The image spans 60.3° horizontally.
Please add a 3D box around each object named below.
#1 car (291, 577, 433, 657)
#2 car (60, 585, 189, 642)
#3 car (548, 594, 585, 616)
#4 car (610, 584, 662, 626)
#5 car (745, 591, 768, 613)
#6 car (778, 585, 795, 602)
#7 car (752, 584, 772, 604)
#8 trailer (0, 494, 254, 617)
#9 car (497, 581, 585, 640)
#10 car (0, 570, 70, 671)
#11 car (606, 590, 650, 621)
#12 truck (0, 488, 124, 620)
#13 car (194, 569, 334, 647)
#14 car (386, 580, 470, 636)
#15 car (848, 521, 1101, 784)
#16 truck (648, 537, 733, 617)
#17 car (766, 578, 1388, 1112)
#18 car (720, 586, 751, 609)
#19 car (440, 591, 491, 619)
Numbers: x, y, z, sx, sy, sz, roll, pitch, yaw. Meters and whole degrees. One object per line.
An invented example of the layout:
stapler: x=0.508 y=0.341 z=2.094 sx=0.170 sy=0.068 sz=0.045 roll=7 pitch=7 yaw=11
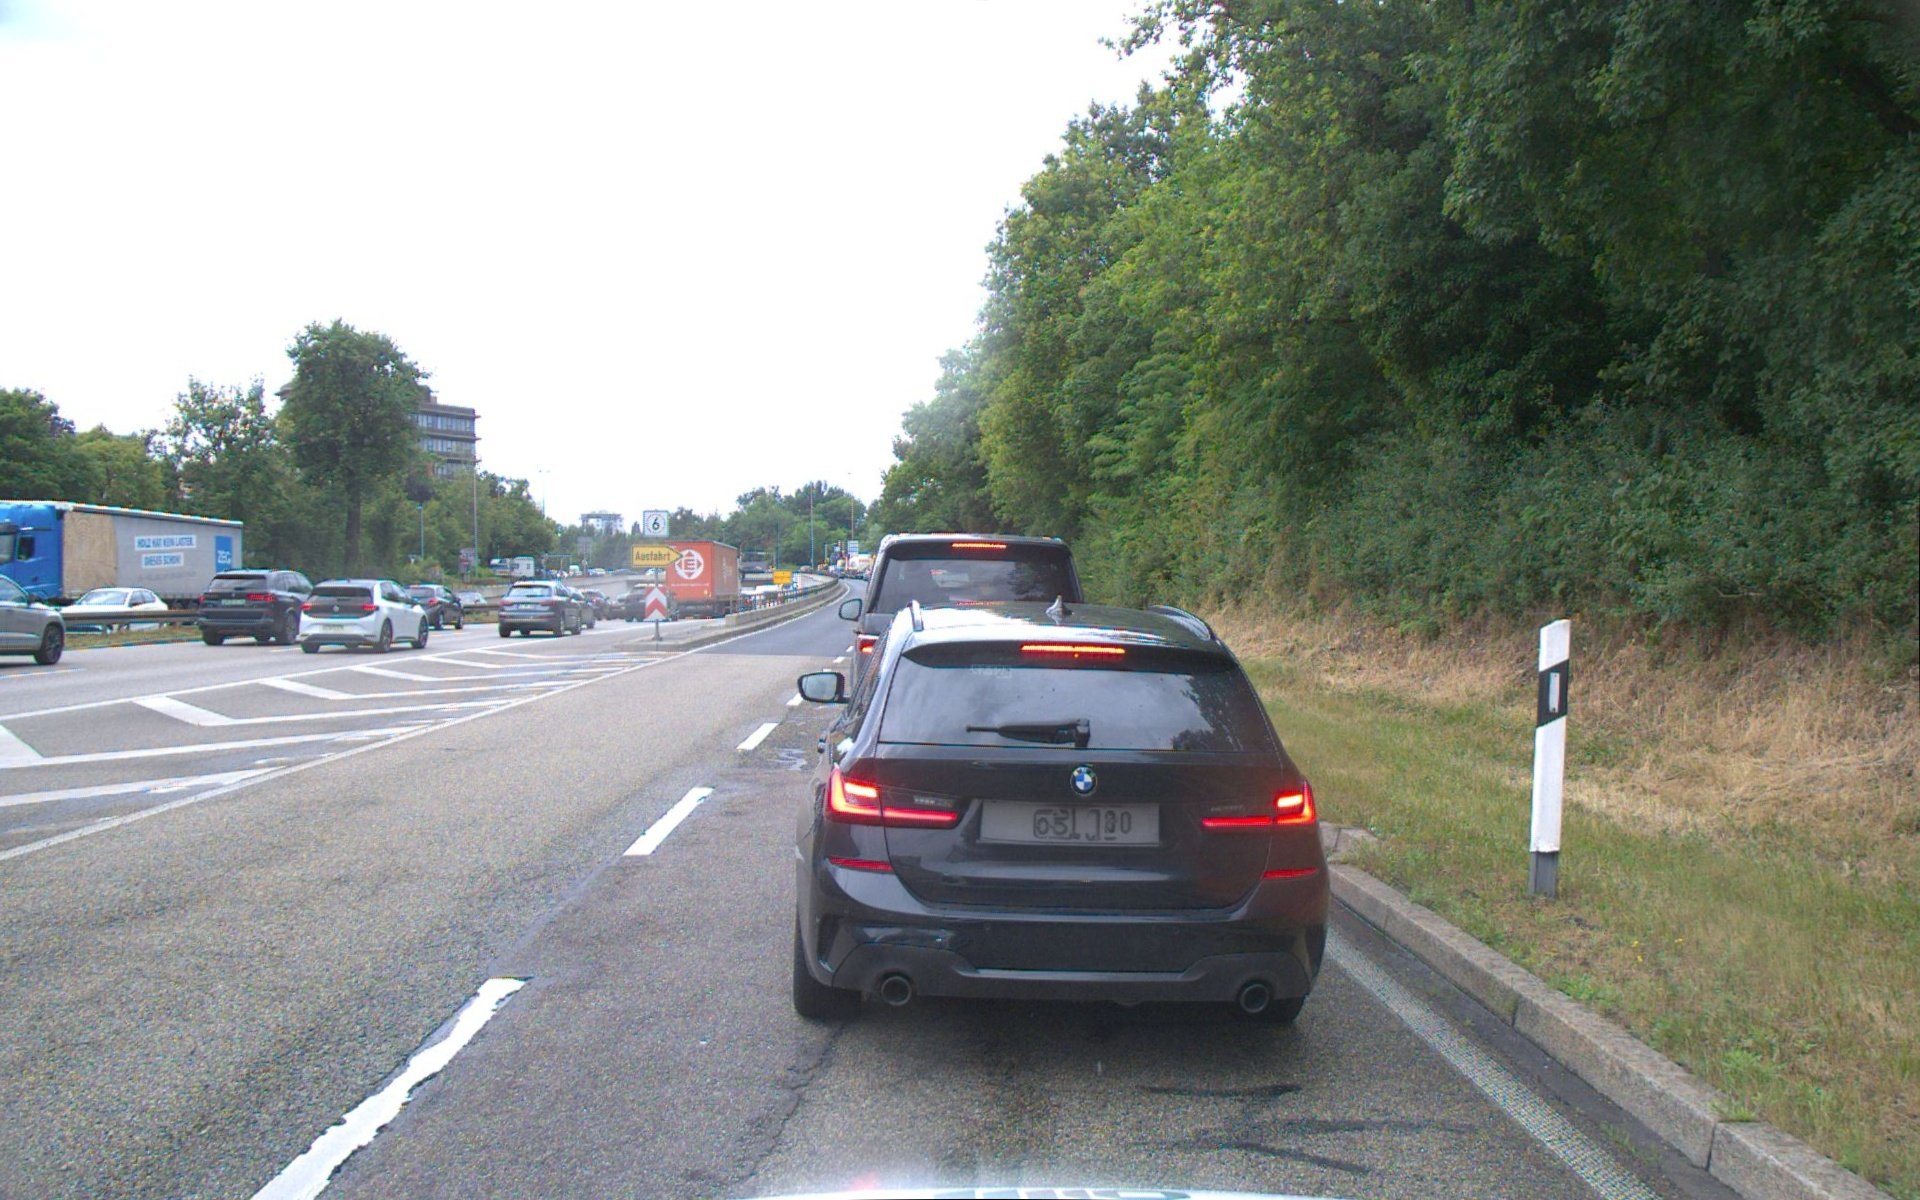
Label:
car: x=-13.033 y=0.357 z=36.309 sx=1.764 sy=1.632 sz=4.254 roll=1 pitch=0 yaw=-4
car: x=-24.553 y=0.361 z=48.737 sx=1.856 sy=1.601 sz=3.925 roll=0 pitch=0 yaw=-1
car: x=-29.911 y=0.384 z=125.908 sx=1.953 sy=1.635 sz=3.999 roll=0 pitch=1 yaw=-1
car: x=-14.776 y=0.216 z=75.613 sx=1.823 sy=1.847 sz=3.997 roll=1 pitch=0 yaw=-4
car: x=-15.289 y=0.136 z=124.201 sx=1.526 sy=1.579 sz=3.814 roll=1 pitch=0 yaw=-4
car: x=-16.857 y=-0.583 z=161.038 sx=1.526 sy=1.579 sz=3.996 roll=1 pitch=0 yaw=-4
car: x=-16.608 y=-0.510 z=138.838 sx=1.526 sy=1.579 sz=3.996 roll=1 pitch=0 yaw=-4
trailer: x=-28.733 y=-1.344 z=57.726 sx=2.631 sy=3.767 sz=13.256 roll=1 pitch=0 yaw=-1
car: x=-12.215 y=0.283 z=48.417 sx=1.756 sy=1.668 sz=3.997 roll=0 pitch=0 yaw=-4
car: x=-16.408 y=0.324 z=27.023 sx=1.694 sy=1.629 sz=3.927 roll=0 pitch=1 yaw=-1
car: x=-18.660 y=0.323 z=93.100 sx=1.822 sy=1.646 sz=3.998 roll=1 pitch=0 yaw=-3
truck: x=-28.561 y=-1.327 z=50.450 sx=2.715 sy=3.775 sz=6.636 roll=1 pitch=0 yaw=-1
car: x=-16.679 y=0.190 z=39.830 sx=1.837 sy=1.746 sz=3.997 roll=1 pitch=0 yaw=-4
car: x=-17.657 y=0.263 z=55.079 sx=1.683 sy=1.746 sz=3.997 roll=1 pitch=0 yaw=-4
car: x=0.064 y=0.387 z=13.876 sx=1.786 sy=1.853 sz=3.999 roll=1 pitch=0 yaw=-1
truck: x=-14.875 y=-1.257 z=92.422 sx=3.421 sy=4.144 sz=13.580 roll=-1 pitch=1 yaw=-4
car: x=0.258 y=0.676 z=6.763 sx=1.788 sy=1.508 sz=3.998 roll=-1 pitch=1 yaw=-3
car: x=-15.274 y=-0.164 z=112.471 sx=1.742 sy=1.508 sz=3.998 roll=0 pitch=0 yaw=-3
car: x=-29.927 y=0.264 z=100.240 sx=1.953 sy=1.635 sz=3.999 roll=0 pitch=1 yaw=-1
